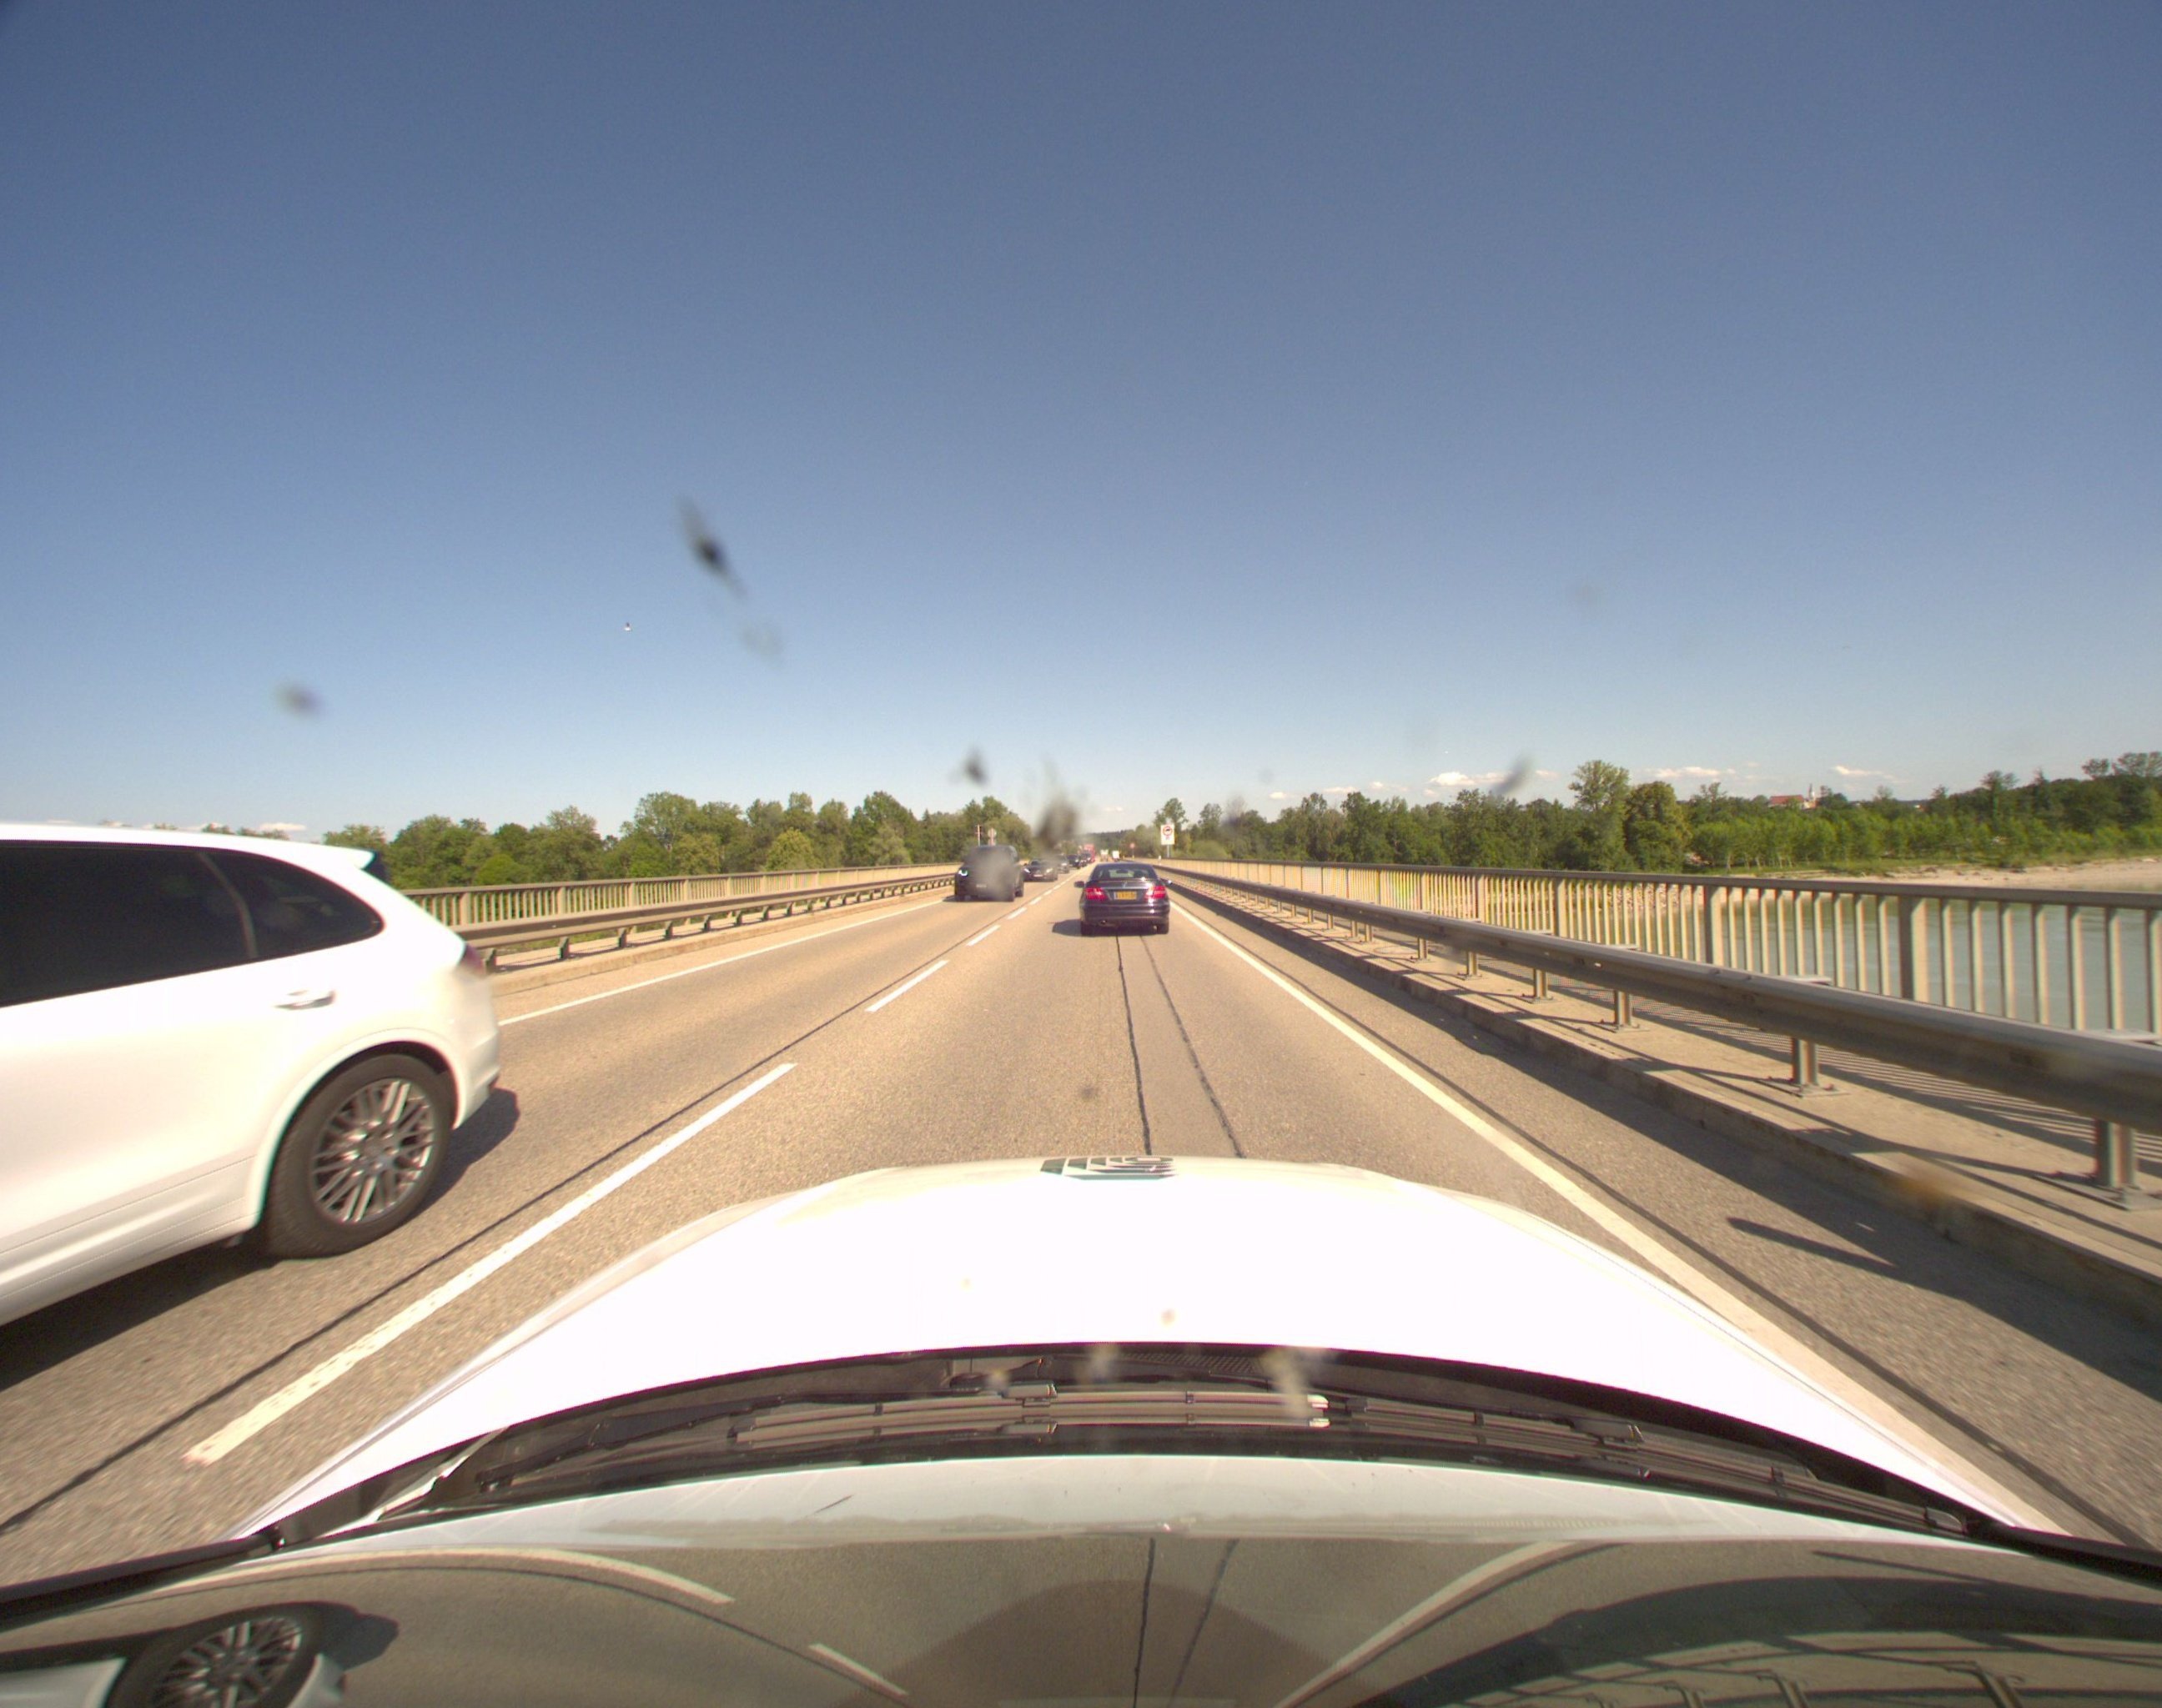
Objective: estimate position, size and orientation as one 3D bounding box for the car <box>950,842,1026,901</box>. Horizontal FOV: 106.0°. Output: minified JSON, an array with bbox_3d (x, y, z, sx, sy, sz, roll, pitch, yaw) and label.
[{"bbox_3d":[-3.183,0.541,28.863,2.030,1.873,5.070,1,1,0],"label":"car"}]

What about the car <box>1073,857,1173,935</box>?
[{"bbox_3d":[0.823,0.763,16.700,1.786,1.376,4.002,-1,0,2],"label":"car"}]

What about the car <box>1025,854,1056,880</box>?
[{"bbox_3d":[-2.377,0.714,48.592,1.761,1.447,4.453,-1,0,-2],"label":"car"}]

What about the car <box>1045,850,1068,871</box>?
[{"bbox_3d":[-2.088,0.505,70.441,1.848,1.722,4.565,-1,0,0],"label":"car"}]

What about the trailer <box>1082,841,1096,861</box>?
[{"bbox_3d":[1.773,-0.629,189.819,2.899,4.302,14.294,-1,0,-1],"label":"trailer"}]

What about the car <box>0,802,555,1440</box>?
[{"bbox_3d":[-3.795,0.698,1.933,1.976,1.651,4.600,0,0,2],"label":"car"}]

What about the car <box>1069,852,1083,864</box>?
[{"bbox_3d":[-0.654,0.484,108.033,1.801,1.577,4.198,-1,0,-2],"label":"car"}]

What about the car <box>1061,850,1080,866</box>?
[{"bbox_3d":[-1.207,0.416,92.508,2.047,1.652,4.720,1,1,0],"label":"car"}]
